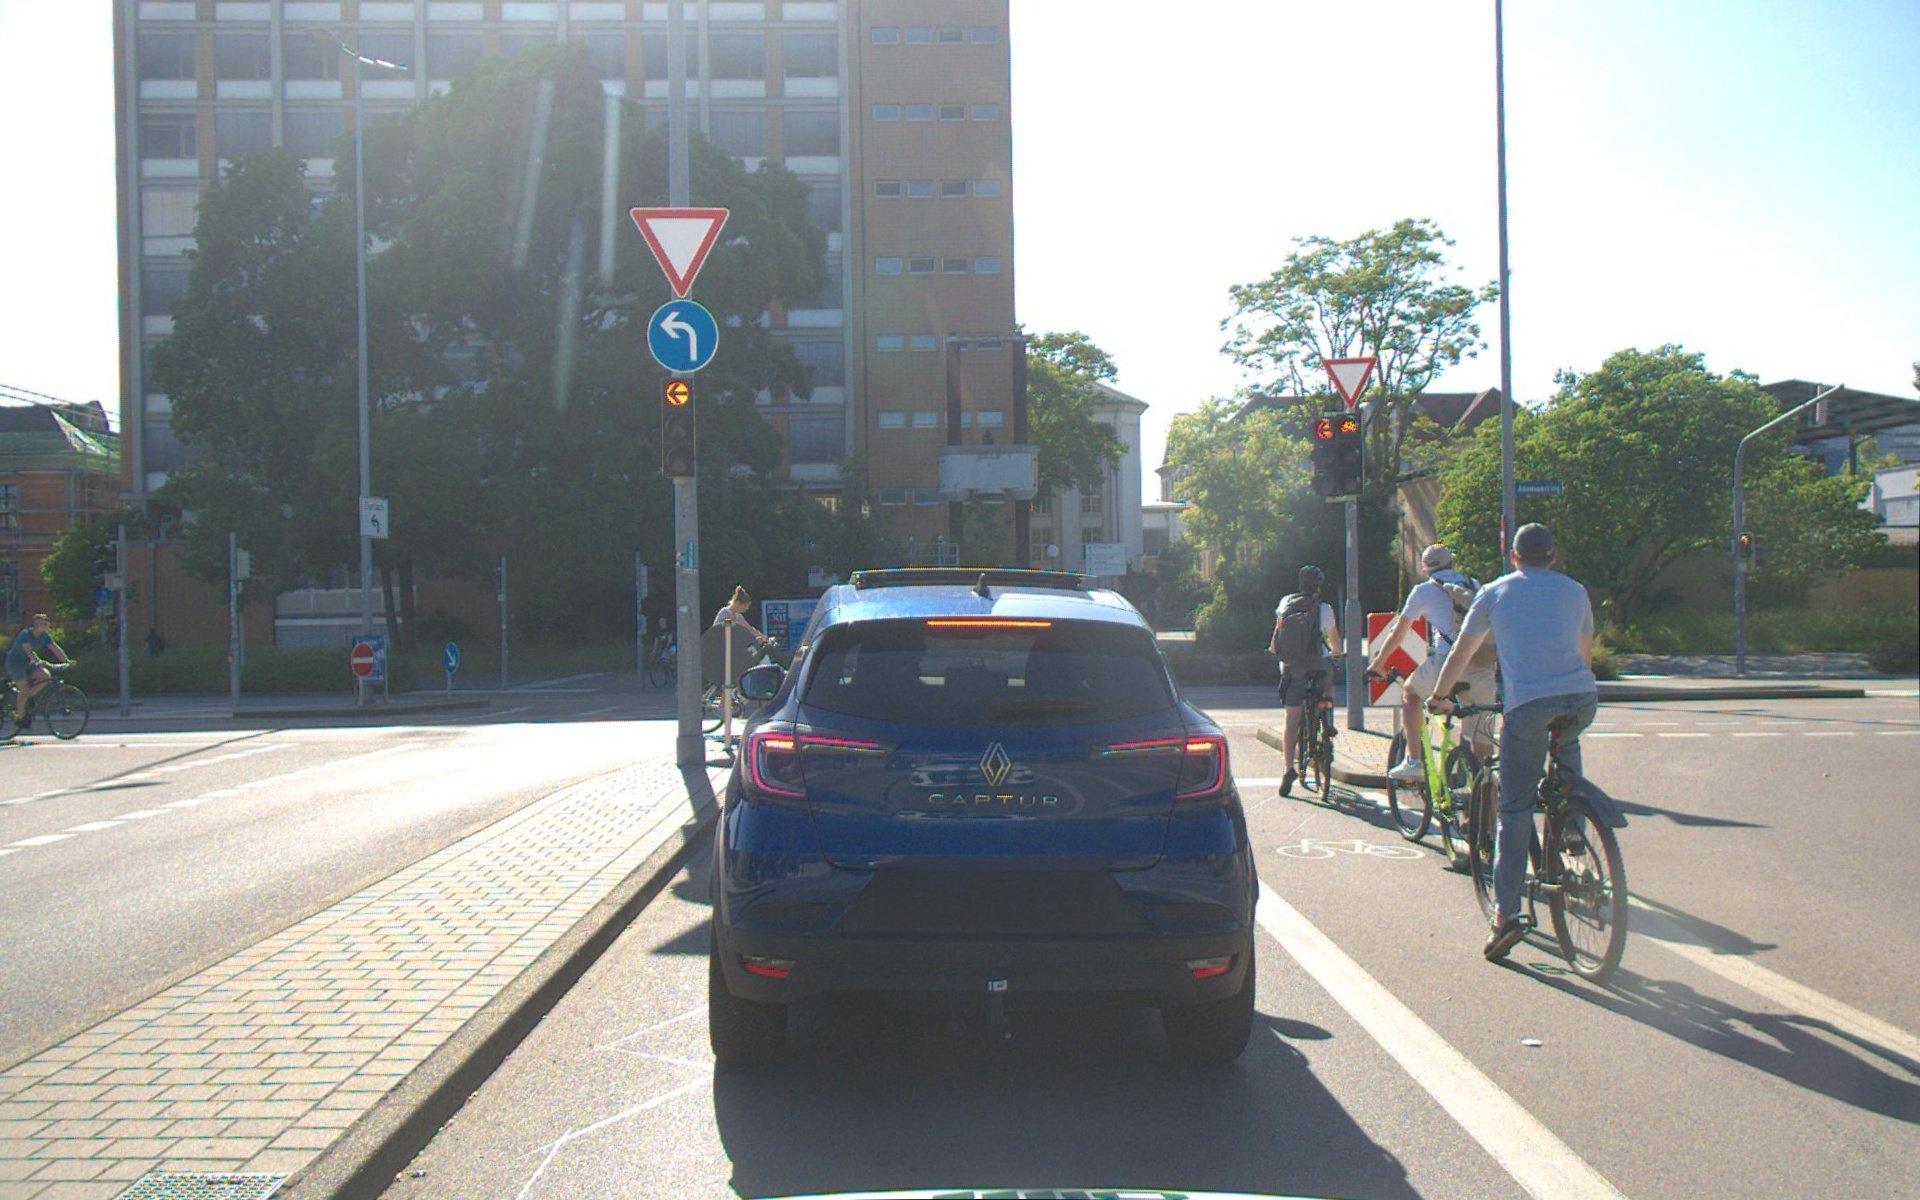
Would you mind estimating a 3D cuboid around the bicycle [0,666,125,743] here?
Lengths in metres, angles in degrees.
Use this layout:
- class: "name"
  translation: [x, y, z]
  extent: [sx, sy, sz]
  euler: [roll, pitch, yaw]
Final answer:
- class: "bicycle"
  translation: [-12.269, 1.409, 22.132]
  extent: [1.942, 0.934, 0.688]
  euler: [-3, -1, 13]

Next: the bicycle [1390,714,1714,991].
- class: "bicycle"
  translation: [2.510, 1.030, 7.282]
  extent: [0.725, 0.911, 1.978]
  euler: [1, 0, 0]

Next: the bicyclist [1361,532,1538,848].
- class: "bicyclist"
  translation: [2.889, 0.511, 9.850]
  extent: [0.633, 1.769, 1.065]
  euler: [1, 0, -6]

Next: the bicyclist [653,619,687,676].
- class: "bicyclist"
  translation: [-7.664, 1.244, 43.654]
  extent: [0.728, 1.466, 0.593]
  euler: [-1, 0, -27]

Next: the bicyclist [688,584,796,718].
- class: "bicyclist"
  translation: [-2.588, 0.600, 19.702]
  extent: [1.046, 1.526, 0.742]
  euler: [-3, -1, 7]

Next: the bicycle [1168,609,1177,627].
- class: "bicycle"
  translation: [12.164, 1.028, 94.576]
  extent: [0.397, 0.990, 1.684]
  euler: [1, 0, 3]

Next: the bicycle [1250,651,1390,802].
- class: "bicycle"
  translation: [2.768, 0.937, 12.932]
  extent: [0.723, 1.012, 2.174]
  euler: [1, 0, 3]

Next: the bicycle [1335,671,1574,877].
- class: "bicycle"
  translation: [2.878, 0.979, 9.853]
  extent: [0.646, 1.020, 1.967]
  euler: [1, 0, -6]

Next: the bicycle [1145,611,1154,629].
- class: "bicycle"
  translation: [10.803, 1.150, 94.231]
  extent: [0.397, 0.990, 1.684]
  euler: [1, 0, 3]

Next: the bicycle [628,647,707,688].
- class: "bicycle"
  translation: [-7.712, 1.768, 43.627]
  extent: [1.982, 0.981, 0.593]
  euler: [-1, 0, -28]

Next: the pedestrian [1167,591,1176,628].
- class: "pedestrian"
  translation: [11.836, 0.544, 92.571]
  extent: [0.465, 2.049, 0.468]
  euler: [-1, 0, 5]

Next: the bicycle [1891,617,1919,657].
- class: "bicycle"
  translation: [24.229, 0.886, 40.843]
  extent: [2.037, 0.946, 0.696]
  euler: [-2, 1, 4]

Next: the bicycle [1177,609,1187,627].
- class: "bicycle"
  translation: [12.689, 1.037, 94.598]
  extent: [0.397, 0.990, 1.684]
  euler: [1, 0, 3]

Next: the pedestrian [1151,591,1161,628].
- class: "pedestrian"
  translation: [10.805, 0.521, 91.204]
  extent: [0.465, 2.049, 0.523]
  euler: [-1, 0, 5]

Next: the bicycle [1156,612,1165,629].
- class: "bicycle"
  translation: [11.413, 1.160, 94.197]
  extent: [0.397, 0.990, 1.684]
  euler: [1, 0, 3]

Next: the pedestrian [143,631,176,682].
- class: "pedestrian"
  translation: [-25.920, 1.822, 53.565]
  extent: [0.722, 1.631, 0.598]
  euler: [-1, 0, 22]

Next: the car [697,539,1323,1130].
- class: "car"
  translation: [0.068, 0.669, 6.690]
  extent: [1.767, 1.660, 3.998]
  euler: [1, 0, -3]

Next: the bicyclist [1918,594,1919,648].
- class: "bicyclist"
  translation: [24.245, 0.510, 40.829]
  extent: [0.808, 1.339, 0.696]
  euler: [-2, 1, 4]

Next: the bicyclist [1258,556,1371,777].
- class: "bicyclist"
  translation: [2.767, 0.502, 12.984]
  extent: [0.711, 1.657, 0.969]
  euler: [1, 0, 3]

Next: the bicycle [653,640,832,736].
- class: "bicycle"
  translation: [-2.572, 1.043, 19.690]
  extent: [1.942, 1.012, 0.742]
  euler: [-3, -1, 8]

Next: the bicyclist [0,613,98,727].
- class: "bicyclist"
  translation: [-12.289, 0.931, 22.147]
  extent: [1.100, 1.447, 0.688]
  euler: [-3, -1, 13]

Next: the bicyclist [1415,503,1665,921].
- class: "bicyclist"
  translation: [2.515, 0.461, 7.280]
  extent: [0.736, 1.698, 1.016]
  euler: [1, 0, 0]

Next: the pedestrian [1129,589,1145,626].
- class: "pedestrian"
  translation: [9.988, 0.411, 93.531]
  extent: [0.841, 2.049, 0.468]
  euler: [-1, 0, 5]
